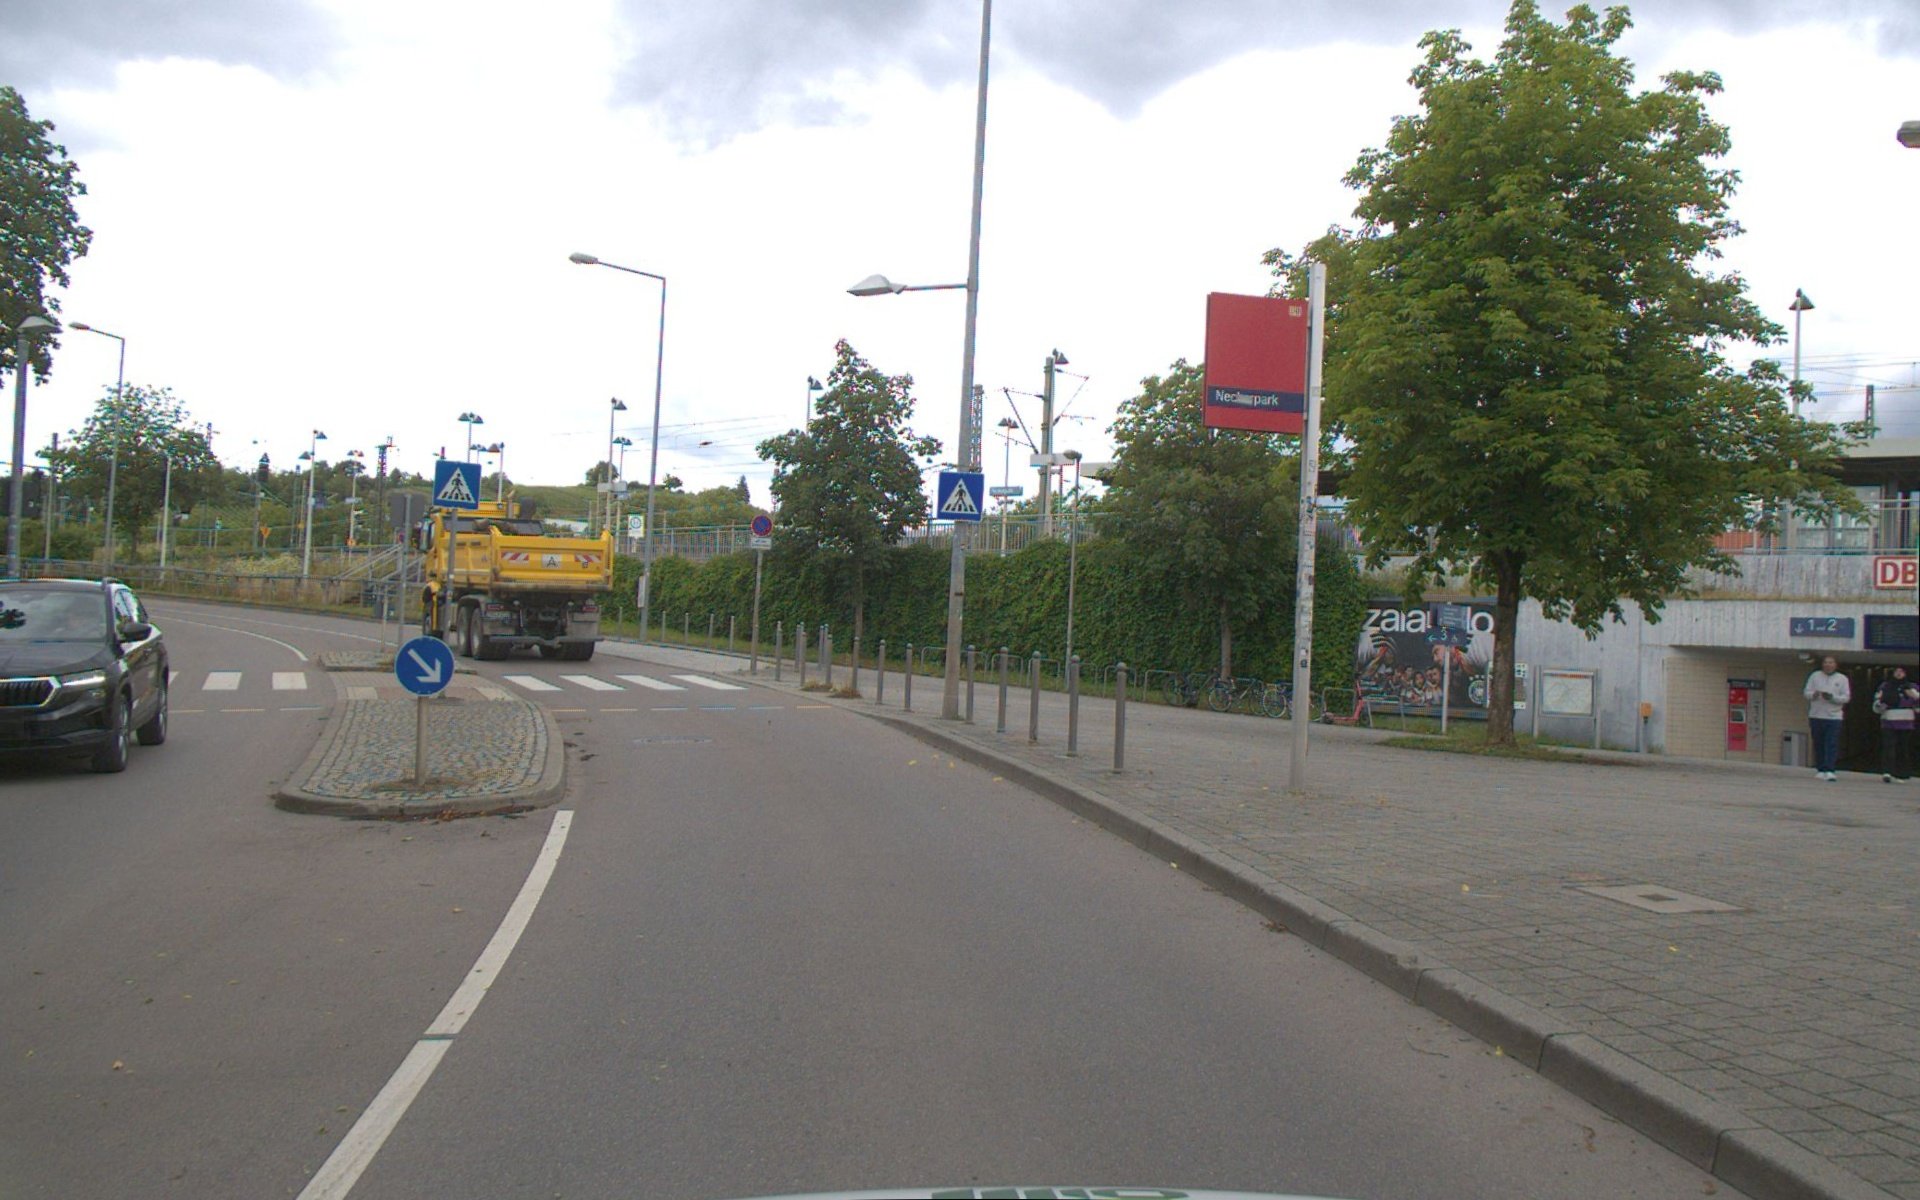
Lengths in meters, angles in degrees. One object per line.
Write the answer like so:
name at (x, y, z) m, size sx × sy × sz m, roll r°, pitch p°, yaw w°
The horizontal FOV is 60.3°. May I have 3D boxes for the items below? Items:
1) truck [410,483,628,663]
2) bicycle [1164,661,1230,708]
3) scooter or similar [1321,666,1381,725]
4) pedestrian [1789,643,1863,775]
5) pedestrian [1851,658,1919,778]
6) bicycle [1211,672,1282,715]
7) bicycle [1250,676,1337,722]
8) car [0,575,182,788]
truck at (-10.098, -0.663, 37.189) m, size 2.734 × 3.544 × 8.052 m, roll 3°, pitch 1°, yaw -29°
bicycle at (5.743, 2.042, 40.124) m, size 1.457 × 1.007 × 0.694 m, roll 5°, pitch -1°, yaw 0°
scooter or similar at (8.872, 2.158, 37.532) m, size 1.167 × 1.227 × 0.466 m, roll 5°, pitch -2°, yaw -15°
pedestrian at (11.761, 1.472, 22.483) m, size 0.797 × 1.732 × 0.748 m, roll 1°, pitch -3°, yaw 22°
pedestrian at (12.882, 1.630, 22.980) m, size 0.783 × 1.611 × 0.801 m, roll 1°, pitch -3°, yaw 22°
bicycle at (6.857, 2.234, 39.582) m, size 1.549 × 0.869 × 0.462 m, roll 6°, pitch -2°, yaw -15°
bicycle at (7.787, 2.311, 38.642) m, size 1.935 × 0.880 × 0.508 m, roll 7°, pitch -2°, yaw -18°
car at (-8.158, 0.625, 14.706) m, size 1.775 × 1.638 × 4.153 m, roll -1°, pitch 0°, yaw -19°
